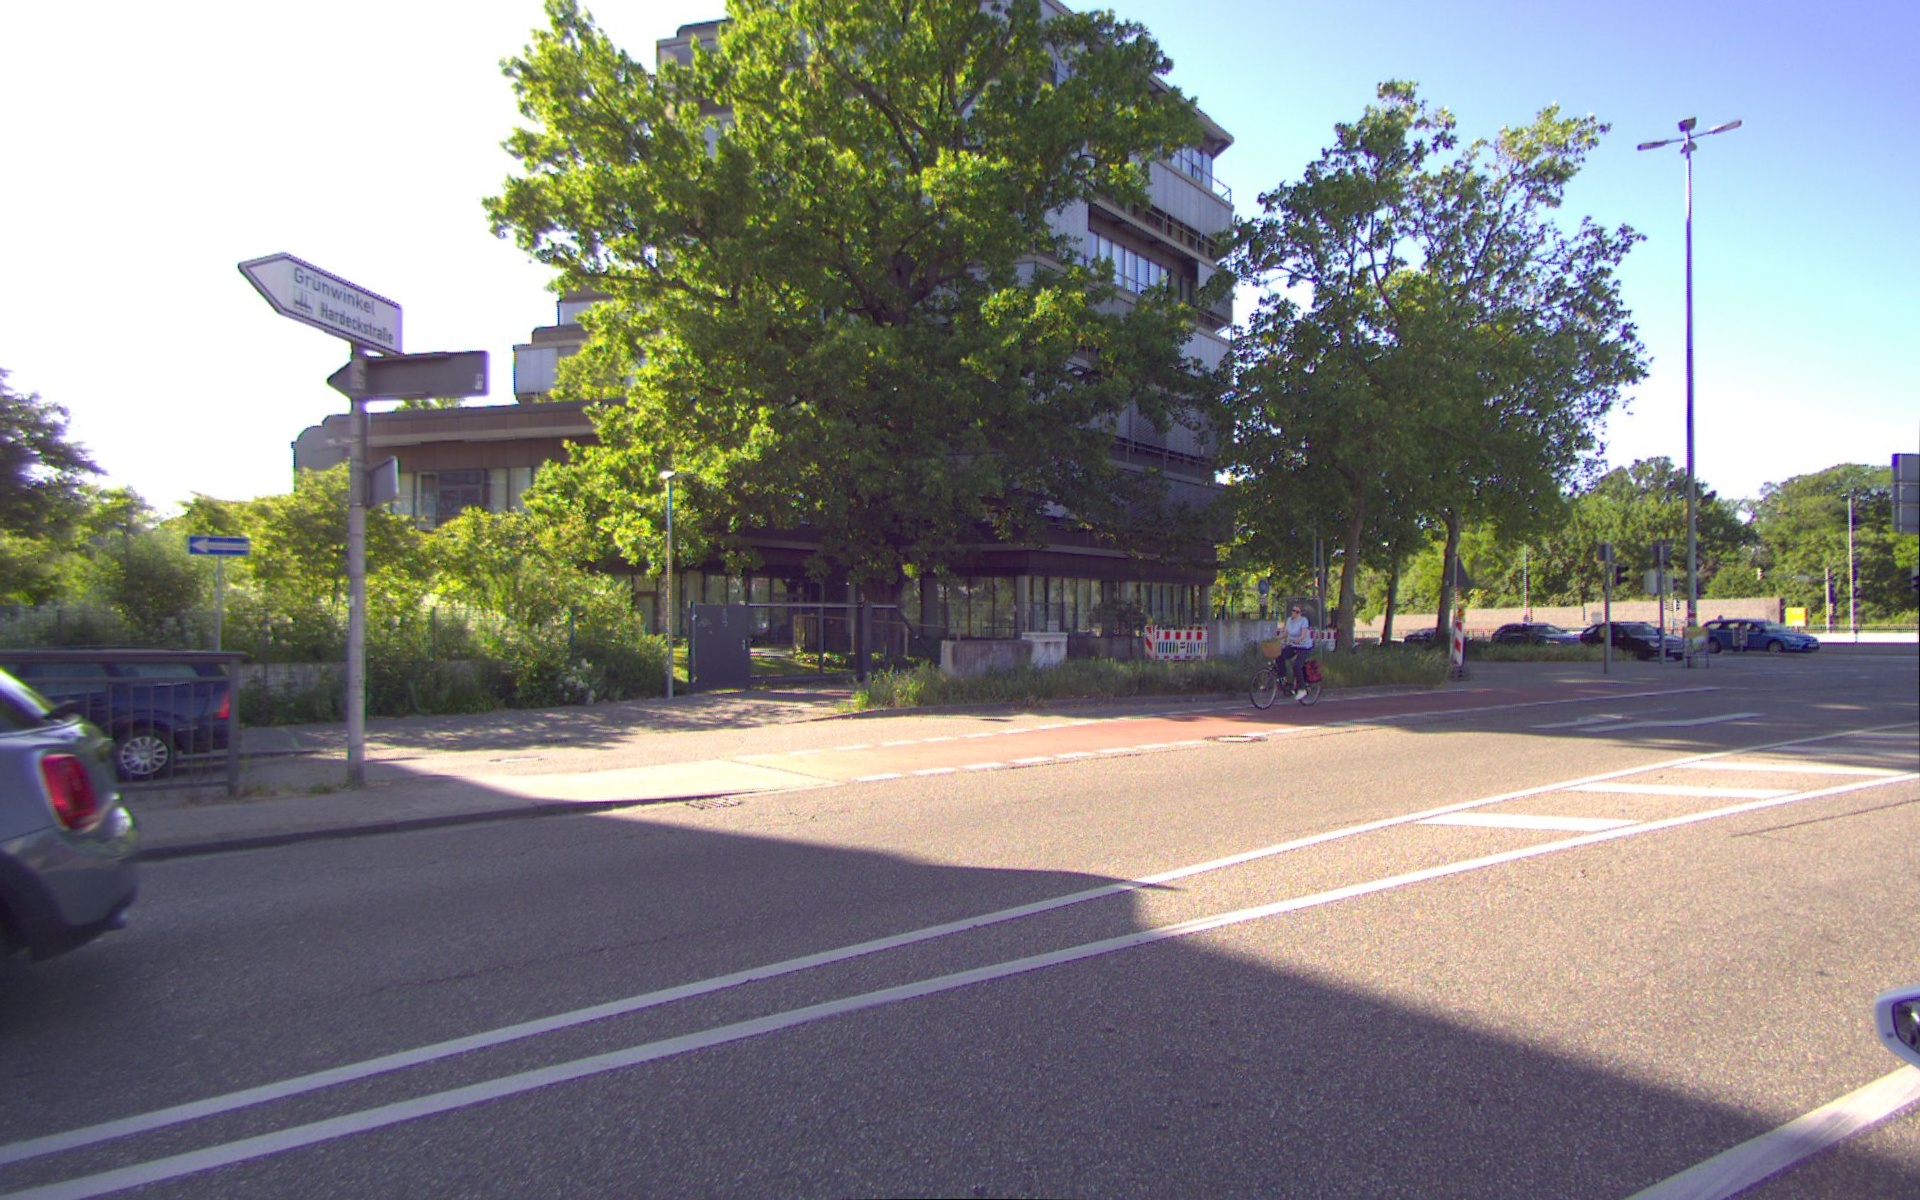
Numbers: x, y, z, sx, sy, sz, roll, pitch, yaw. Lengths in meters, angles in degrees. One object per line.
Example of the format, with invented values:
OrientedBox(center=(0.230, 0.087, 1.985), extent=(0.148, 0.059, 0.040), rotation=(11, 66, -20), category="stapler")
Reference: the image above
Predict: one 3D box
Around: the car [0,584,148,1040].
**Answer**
OrientedBox(center=(-4.892, 0.728, 2.934), extent=(3.879, 1.475, 1.673), rotation=(0, -4, -39), category="car")

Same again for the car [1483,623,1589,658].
OrientedBox(center=(25.855, 1.805, 45.277), extent=(1.792, 1.457, 4.446), rotation=(0, -2, -7), category="car")

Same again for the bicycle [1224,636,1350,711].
OrientedBox(center=(5.780, 1.267, 17.697), extent=(2.296, 1.218, 0.684), rotation=(0, -1, -27), category="bicycle")

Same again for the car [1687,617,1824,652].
OrientedBox(center=(34.237, 1.475, 43.392), extent=(1.796, 1.457, 4.437), rotation=(0, -2, -16), category="car")

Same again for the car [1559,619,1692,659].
OrientedBox(center=(25.564, 1.479, 38.796), extent=(1.792, 1.457, 4.446), rotation=(0, -2, -7), category="car")

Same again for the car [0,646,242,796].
OrientedBox(center=(-10.774, 1.325, 11.227), extent=(4.411, 1.523, 1.806), rotation=(1, -2, -38), category="car")

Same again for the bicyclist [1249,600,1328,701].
OrientedBox(center=(5.782, 0.869, 17.706), extent=(1.182, 1.723, 0.684), rotation=(0, -1, -26), category="bicyclist")
